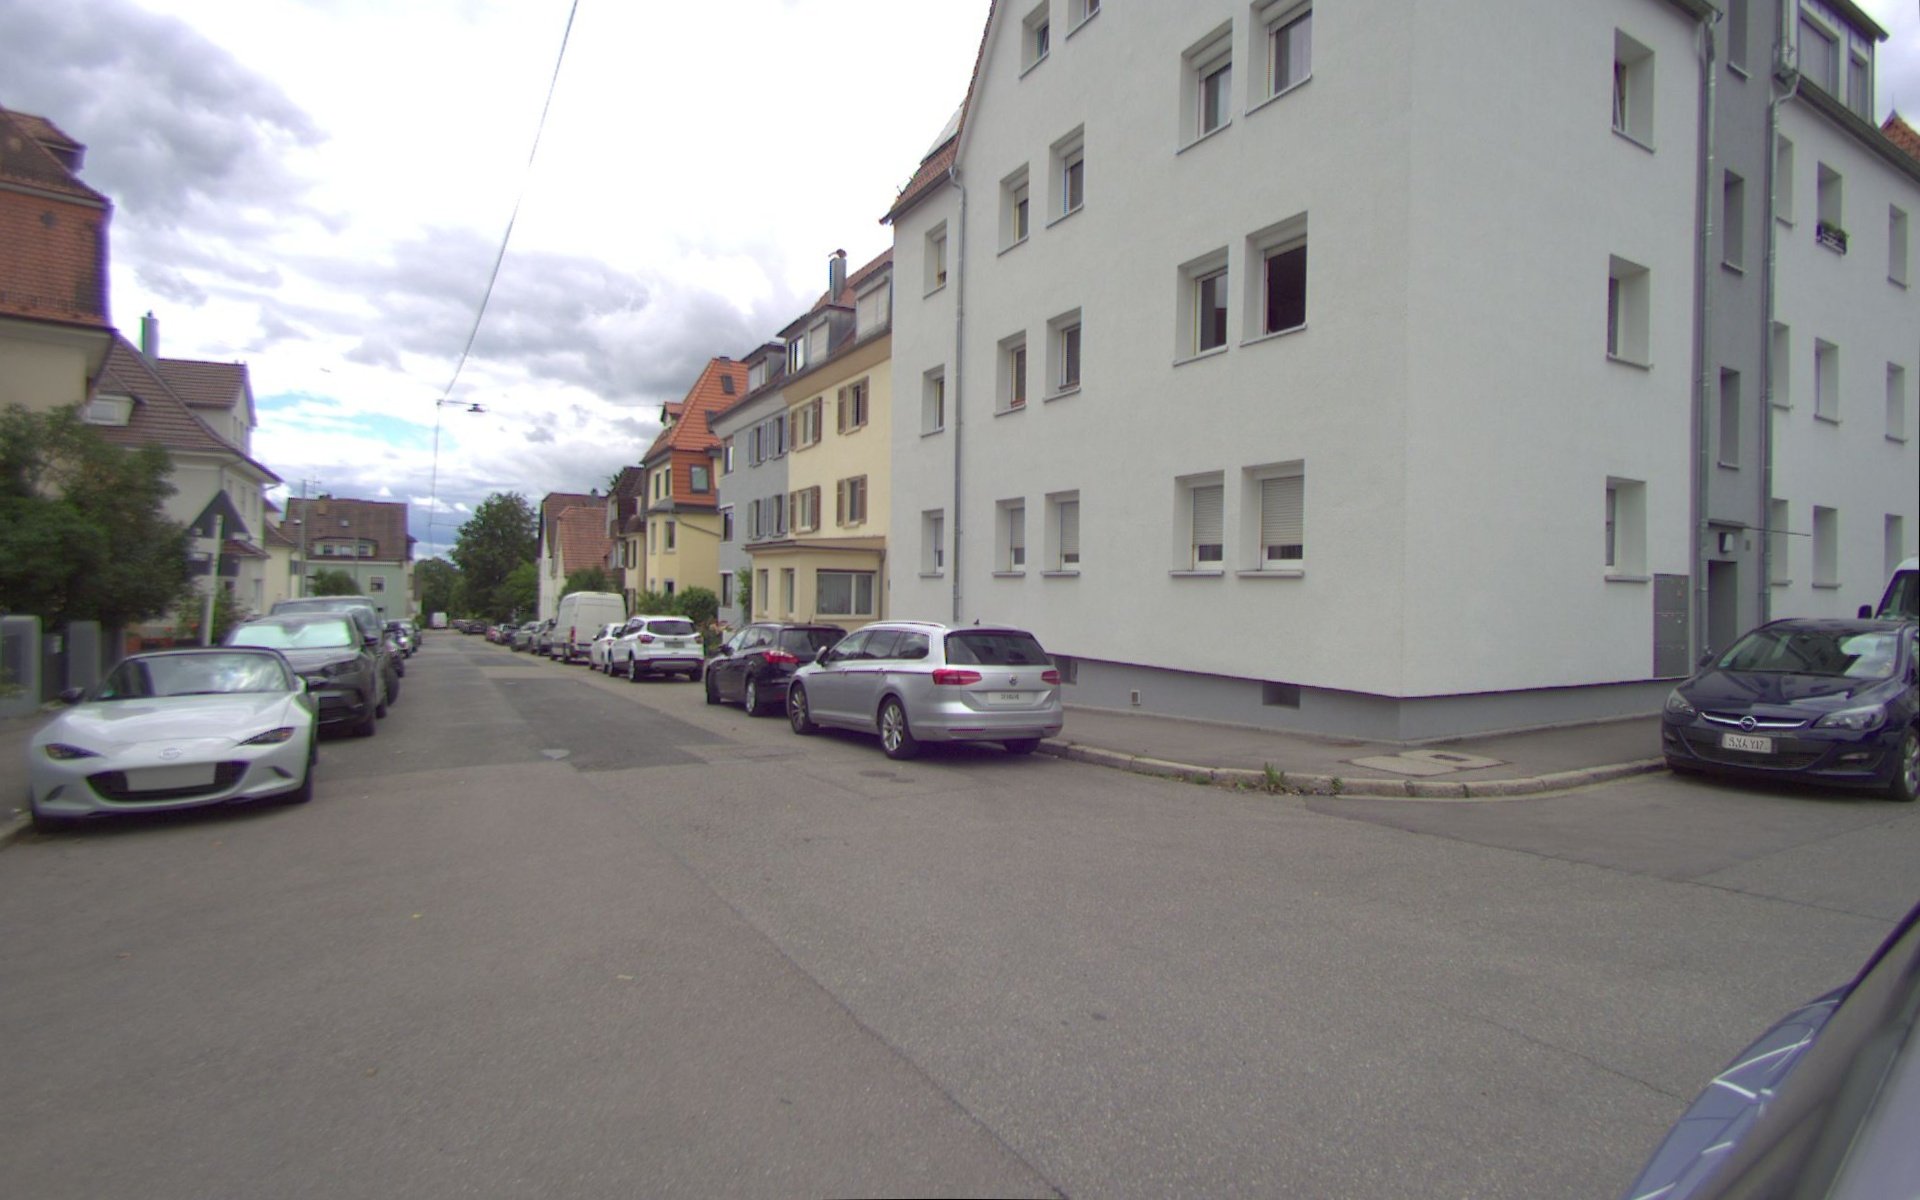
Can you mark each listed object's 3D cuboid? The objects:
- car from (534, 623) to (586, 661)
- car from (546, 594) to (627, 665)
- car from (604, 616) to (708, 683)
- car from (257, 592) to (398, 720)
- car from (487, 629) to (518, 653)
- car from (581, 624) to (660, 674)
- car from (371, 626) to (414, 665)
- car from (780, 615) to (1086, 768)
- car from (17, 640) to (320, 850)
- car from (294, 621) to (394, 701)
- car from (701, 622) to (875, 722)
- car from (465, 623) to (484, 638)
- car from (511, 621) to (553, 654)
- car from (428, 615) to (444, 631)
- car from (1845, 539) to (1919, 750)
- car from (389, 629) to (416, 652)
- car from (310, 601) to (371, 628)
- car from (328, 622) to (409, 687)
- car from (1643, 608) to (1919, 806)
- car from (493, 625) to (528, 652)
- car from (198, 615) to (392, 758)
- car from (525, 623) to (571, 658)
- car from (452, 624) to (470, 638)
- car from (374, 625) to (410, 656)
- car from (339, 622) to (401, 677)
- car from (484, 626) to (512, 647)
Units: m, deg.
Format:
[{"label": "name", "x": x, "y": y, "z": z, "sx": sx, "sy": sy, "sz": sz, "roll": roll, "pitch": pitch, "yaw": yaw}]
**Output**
[{"label": "car", "x": -17.771, "y": 1.846, "z": 44.881, "sx": 1.693, "sy": 1.608, "sz": 4.003, "roll": 0, "pitch": -2, "yaw": -28}, {"label": "car", "x": -14.058, "y": 1.121, "z": 37.903, "sx": 2.072, "sy": 2.445, "sz": 5.900, "roll": 2, "pitch": -2, "yaw": -27}, {"label": "car", "x": -8.145, "y": 1.290, "z": 26.894, "sx": 1.830, "sy": 1.627, "sz": 4.003, "roll": 0, "pitch": -2, "yaw": -29}, {"label": "car", "x": -11.288, "y": 0.934, "z": 18.294, "sx": 1.855, "sy": 1.916, "sz": 4.519, "roll": -3, "pitch": 0, "yaw": -30}, {"label": "car", "x": -31.893, "y": 2.835, "z": 70.492, "sx": 1.693, "sy": 1.608, "sz": 3.891, "roll": 0, "pitch": -2, "yaw": -28}, {"label": "car", "x": -10.662, "y": 1.499, "z": 31.597, "sx": 1.702, "sy": 1.472, "sz": 4.004, "roll": 1, "pitch": -2, "yaw": -28}, {"label": "car", "x": -24.776, "y": 1.968, "z": 44.183, "sx": 1.587, "sy": 1.580, "sz": 3.977, "roll": 1, "pitch": -2, "yaw": -30}, {"label": "car", "x": -0.537, "y": 0.939, "z": 12.023, "sx": 1.728, "sy": 1.469, "sz": 4.362, "roll": 2, "pitch": -2, "yaw": -31}, {"label": "car", "x": -6.448, "y": 1.034, "z": 8.609, "sx": 1.638, "sy": 1.277, "sz": 3.481, "roll": -2, "pitch": -1, "yaw": -32}, {"label": "car", "x": -13.840, "y": 1.297, "z": 22.900, "sx": 1.734, "sy": 1.532, "sz": 3.977, "roll": -3, "pitch": 0, "yaw": -30}, {"label": "car", "x": -2.976, "y": 1.111, "z": 16.798, "sx": 1.702, "sy": 1.440, "sz": 4.004, "roll": 1, "pitch": -2, "yaw": -27}, {"label": "car", "x": -51.845, "y": 3.273, "z": 108.049, "sx": 1.693, "sy": 1.608, "sz": 3.891, "roll": 0, "pitch": -2, "yaw": -28}, {"label": "car", "x": -22.605, "y": 1.981, "z": 53.422, "sx": 1.693, "sy": 1.608, "sz": 3.891, "roll": 0, "pitch": -2, "yaw": -28}, {"label": "car", "x": -78.931, "y": 3.535, "z": 152.455, "sx": 1.804, "sy": 2.348, "sz": 3.889, "roll": 0, "pitch": -2, "yaw": -32}, {"label": "car", "x": 13.508, "y": 0.485, "z": 12.838, "sx": 5.189, "sy": 2.452, "sz": 2.002, "roll": -1, "pitch": 1, "yaw": -32}, {"label": "car", "x": -39.678, "y": 2.864, "z": 71.999, "sx": 1.587, "sy": 1.580, "sz": 3.744, "roll": 1, "pitch": -2, "yaw": -30}, {"label": "car", "x": -49.379, "y": 1.156, "z": 80.693, "sx": 3.925, "sy": 2.038, "sz": 1.805, "roll": 1, "pitch": 2, "yaw": -37}, {"label": "car", "x": -16.144, "y": 1.424, "z": 27.708, "sx": 1.734, "sy": 1.532, "sz": 3.978, "roll": -3, "pitch": 1, "yaw": -30}, {"label": "car", "x": 8.514, "y": 0.840, "z": 9.723, "sx": 4.204, "sy": 1.505, "sz": 1.824, "roll": 0, "pitch": 0, "yaw": -34}, {"label": "car", "x": -27.828, "y": 2.387, "z": 62.657, "sx": 1.693, "sy": 1.608, "sz": 3.891, "roll": 0, "pitch": -2, "yaw": -28}, {"label": "car", "x": -8.542, "y": 1.022, "z": 13.326, "sx": 1.637, "sy": 1.460, "sz": 4.208, "roll": -3, "pitch": 0, "yaw": -27}, {"label": "car", "x": -20.071, "y": 1.979, "z": 49.257, "sx": 1.693, "sy": 1.608, "sz": 3.891, "roll": 0, "pitch": -2, "yaw": -28}, {"label": "car", "x": -57.765, "y": 3.556, "z": 117.076, "sx": 1.693, "sy": 1.608, "sz": 3.891, "roll": 0, "pitch": -2, "yaw": -28}, {"label": "car", "x": -29.922, "y": 2.137, "z": 53.352, "sx": 1.587, "sy": 1.580, "sz": 3.977, "roll": 1, "pitch": -2, "yaw": -30}, {"label": "car", "x": -19.093, "y": 1.548, "z": 32.822, "sx": 1.587, "sy": 1.579, "sz": 3.978, "roll": -3, "pitch": 1, "yaw": -30}, {"label": "car", "x": -35.558, "y": 2.814, "z": 77.811, "sx": 1.693, "sy": 1.608, "sz": 3.891, "roll": 0, "pitch": -2, "yaw": -28}]
